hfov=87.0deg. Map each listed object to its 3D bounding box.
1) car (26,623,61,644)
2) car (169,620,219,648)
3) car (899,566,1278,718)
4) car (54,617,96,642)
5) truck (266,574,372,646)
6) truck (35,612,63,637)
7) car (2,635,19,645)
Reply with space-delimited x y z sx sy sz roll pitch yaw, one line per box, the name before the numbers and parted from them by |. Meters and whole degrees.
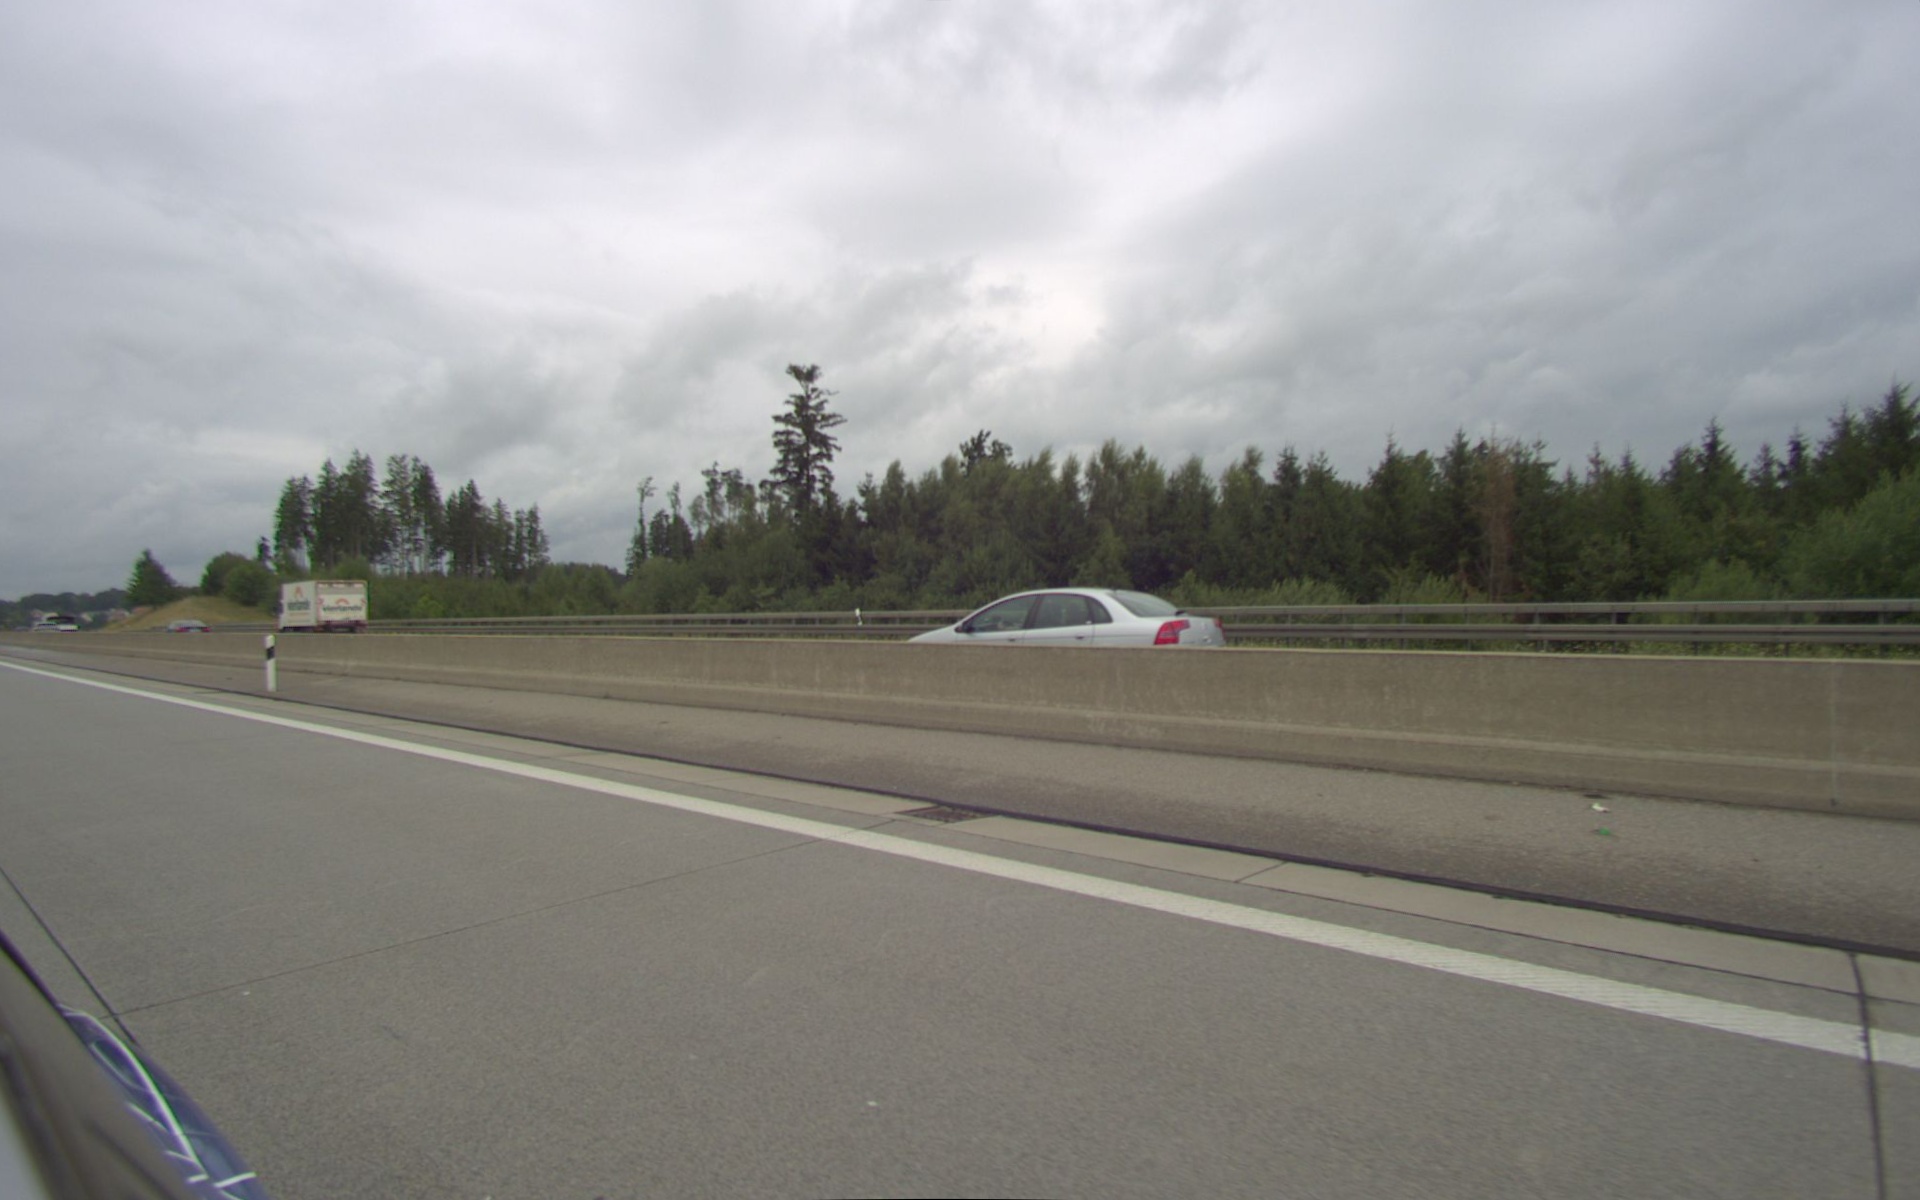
car | -74.902 2.724 82.713 4.498 1.578 1.724 -2 -1 42
car | -46.709 2.067 61.669 4.409 1.578 1.612 -2 -1 42
car | 1.473 0.495 13.016 4.718 1.627 1.680 -2 -1 42
car | -93.229 3.095 106.590 7.516 2.418 2.592 -2 -1 43
truck | -37.427 0.637 58.936 8.896 3.893 2.868 -2 -1 42
truck | -153.585 4.127 170.568 8.852 4.164 2.806 -2 -1 43
car | -150.117 6.340 160.041 5.092 1.545 1.808 -2 -1 45
